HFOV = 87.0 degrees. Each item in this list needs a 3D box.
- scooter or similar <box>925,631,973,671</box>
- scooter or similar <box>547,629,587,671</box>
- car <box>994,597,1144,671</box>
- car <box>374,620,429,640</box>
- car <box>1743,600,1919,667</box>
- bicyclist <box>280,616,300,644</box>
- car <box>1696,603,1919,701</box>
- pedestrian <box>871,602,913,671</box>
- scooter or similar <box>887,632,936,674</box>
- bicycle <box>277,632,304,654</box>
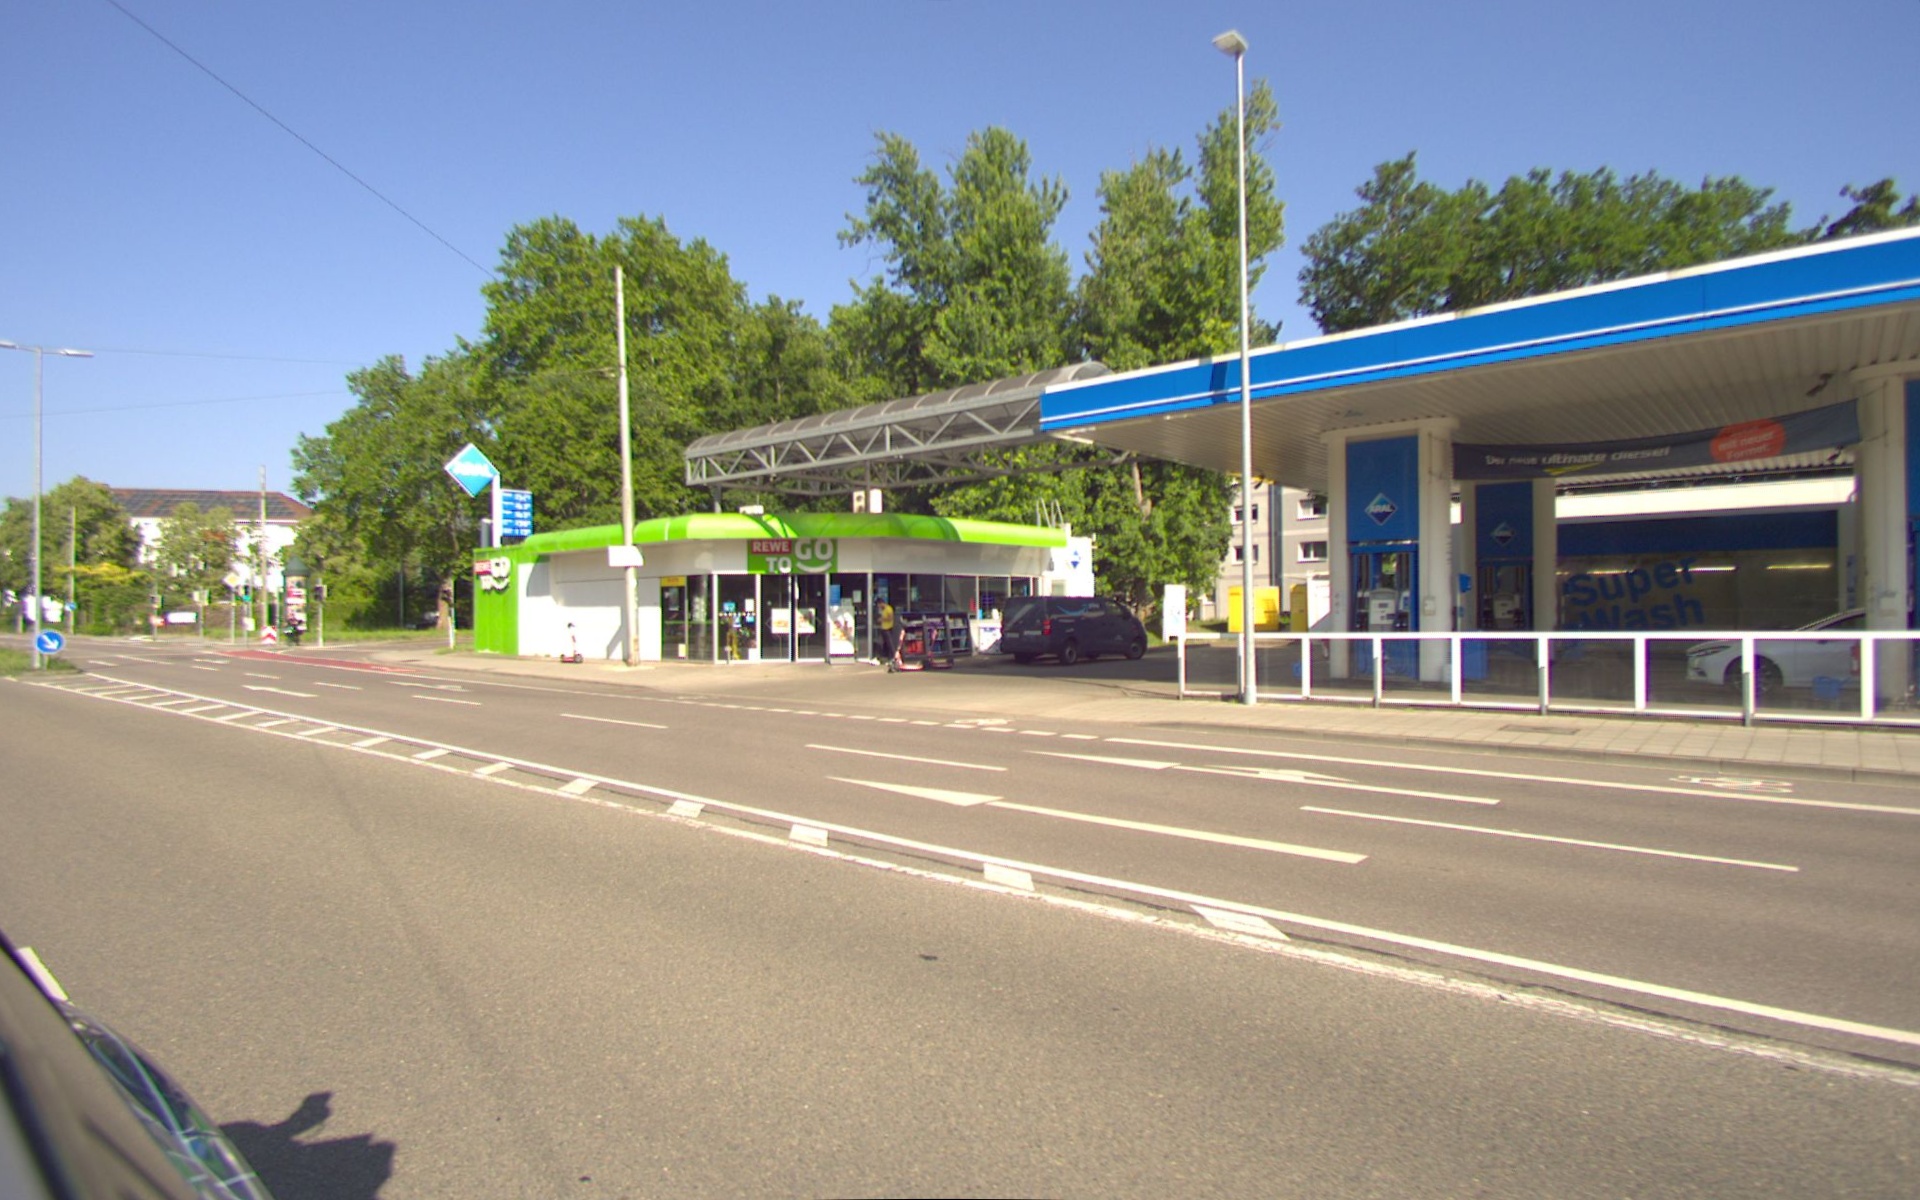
[{"bbox_3d":[-0.277,1.309,26.335,0.499,0.992,1.325,-2,-1,41],"label":"scooter or similar"},{"bbox_3d":[-11.826,1.479,30.441,1.310,1.182,0.526,-1,4,44],"label":"scooter or similar"},{"bbox_3d":[3.189,0.909,28.988,2.000,1.950,4.488,-1,-1,42],"label":"car"},{"bbox_3d":[-42.968,2.319,77.893,3.373,1.317,1.510,-3,1,-43],"label":"car"},{"bbox_3d":[20.025,0.716,22.469,4.117,1.404,1.726,-1,-1,40],"label":"car"},{"bbox_3d":[-34.935,1.547,52.793,1.051,1.463,0.654,-1,-1,44],"label":"bicyclist"},{"bbox_3d":[13.891,0.762,15.518,4.117,1.404,1.726,-1,-1,40],"label":"car"},{"bbox_3d":[-1.759,0.947,26.299,0.759,1.759,0.785,1,-2,-44],"label":"pedestrian"},{"bbox_3d":[-1.211,1.306,25.281,0.499,0.994,1.246,-2,-1,41],"label":"scooter or similar"},{"bbox_3d":[-34.911,2.227,52.762,2.581,1.057,0.654,-1,-1,44],"label":"bicycle"}]
